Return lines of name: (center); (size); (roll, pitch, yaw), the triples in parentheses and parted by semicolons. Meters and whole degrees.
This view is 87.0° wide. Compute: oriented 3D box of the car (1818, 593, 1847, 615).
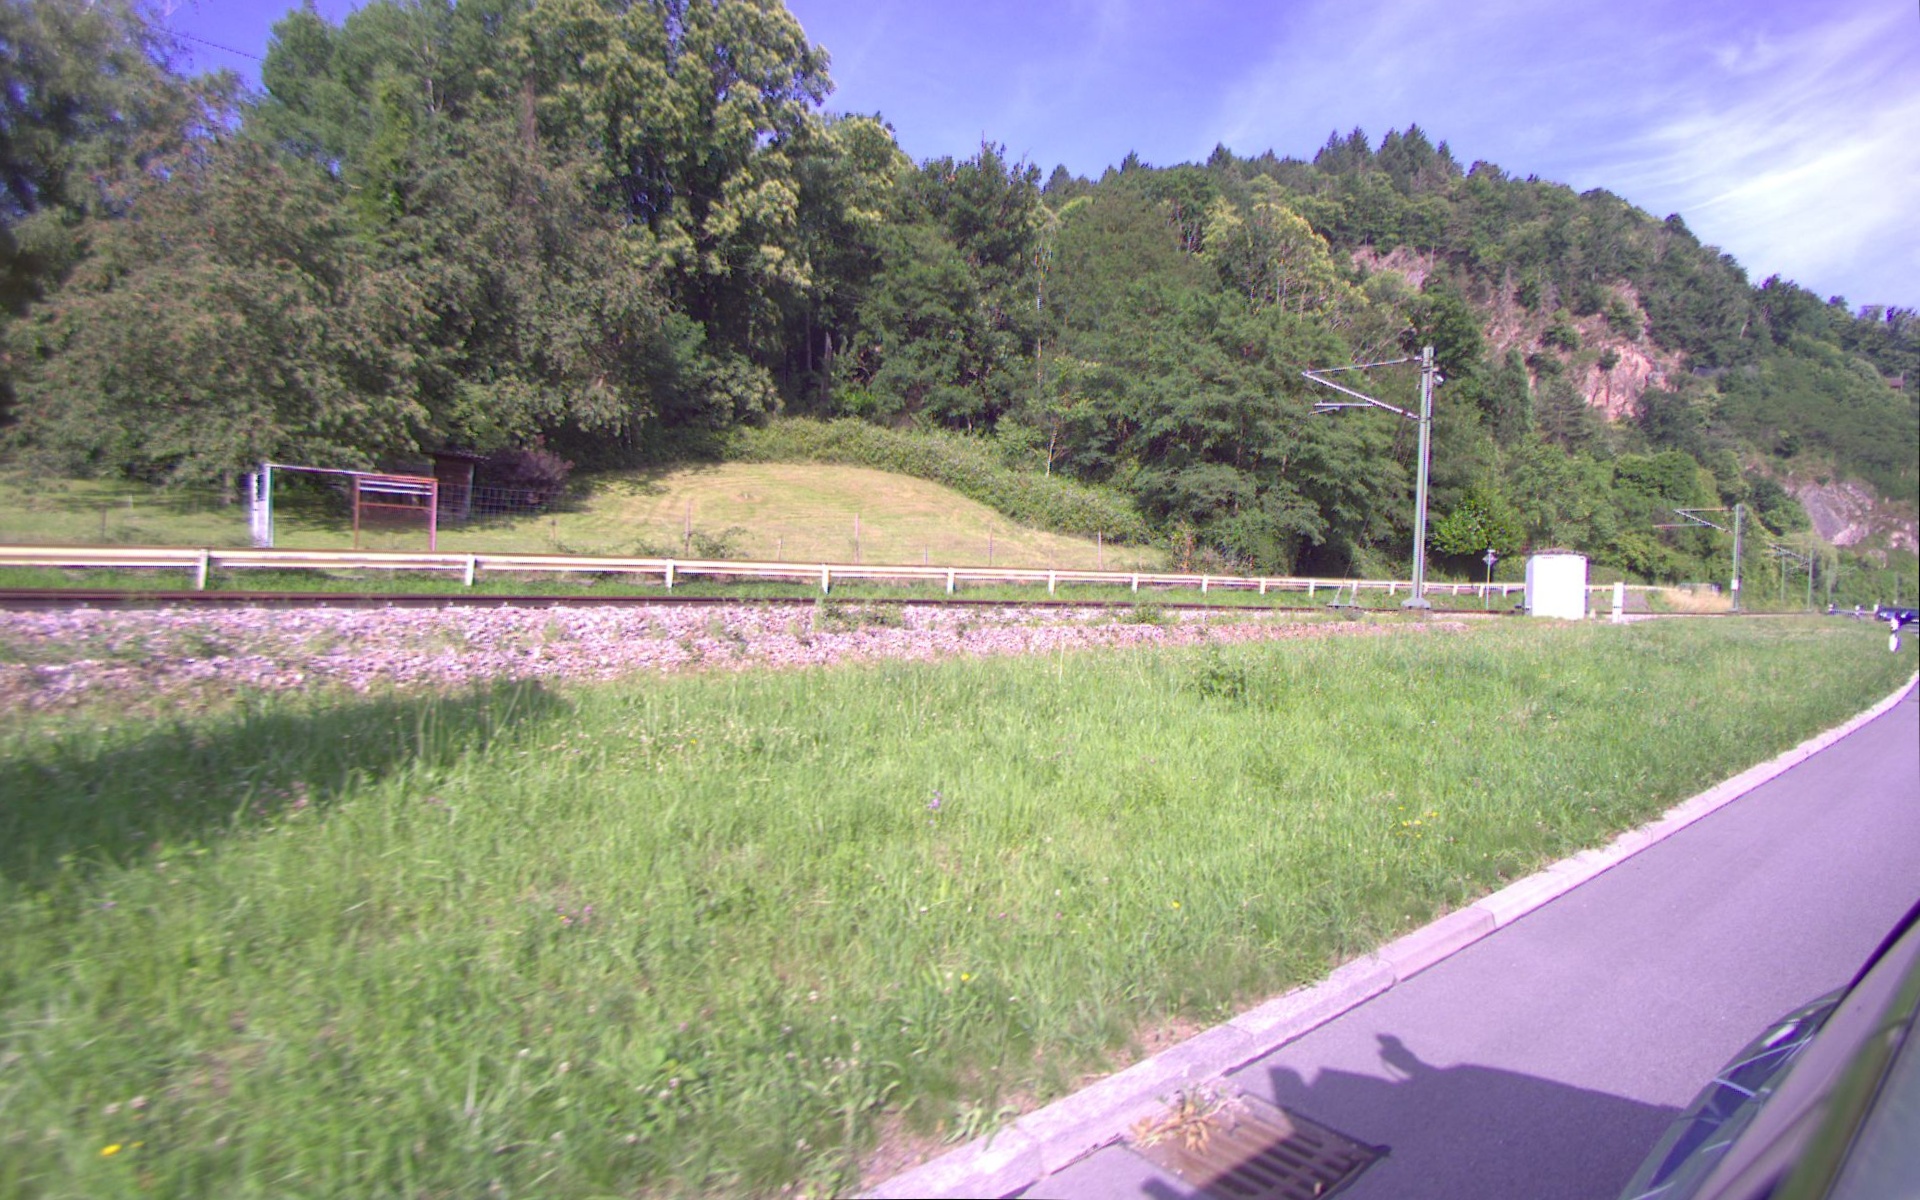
car: (86.119, 0.406, 99.865); (1.994, 2.038, 3.938); (5, 3, 42)

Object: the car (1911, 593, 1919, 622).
car: (70.912, 0.611, 73.787); (1.993, 2.038, 3.941); (5, 3, 41)

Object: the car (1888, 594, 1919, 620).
car: (81.239, 0.604, 86.920); (1.992, 2.038, 3.941); (5, 3, 40)
